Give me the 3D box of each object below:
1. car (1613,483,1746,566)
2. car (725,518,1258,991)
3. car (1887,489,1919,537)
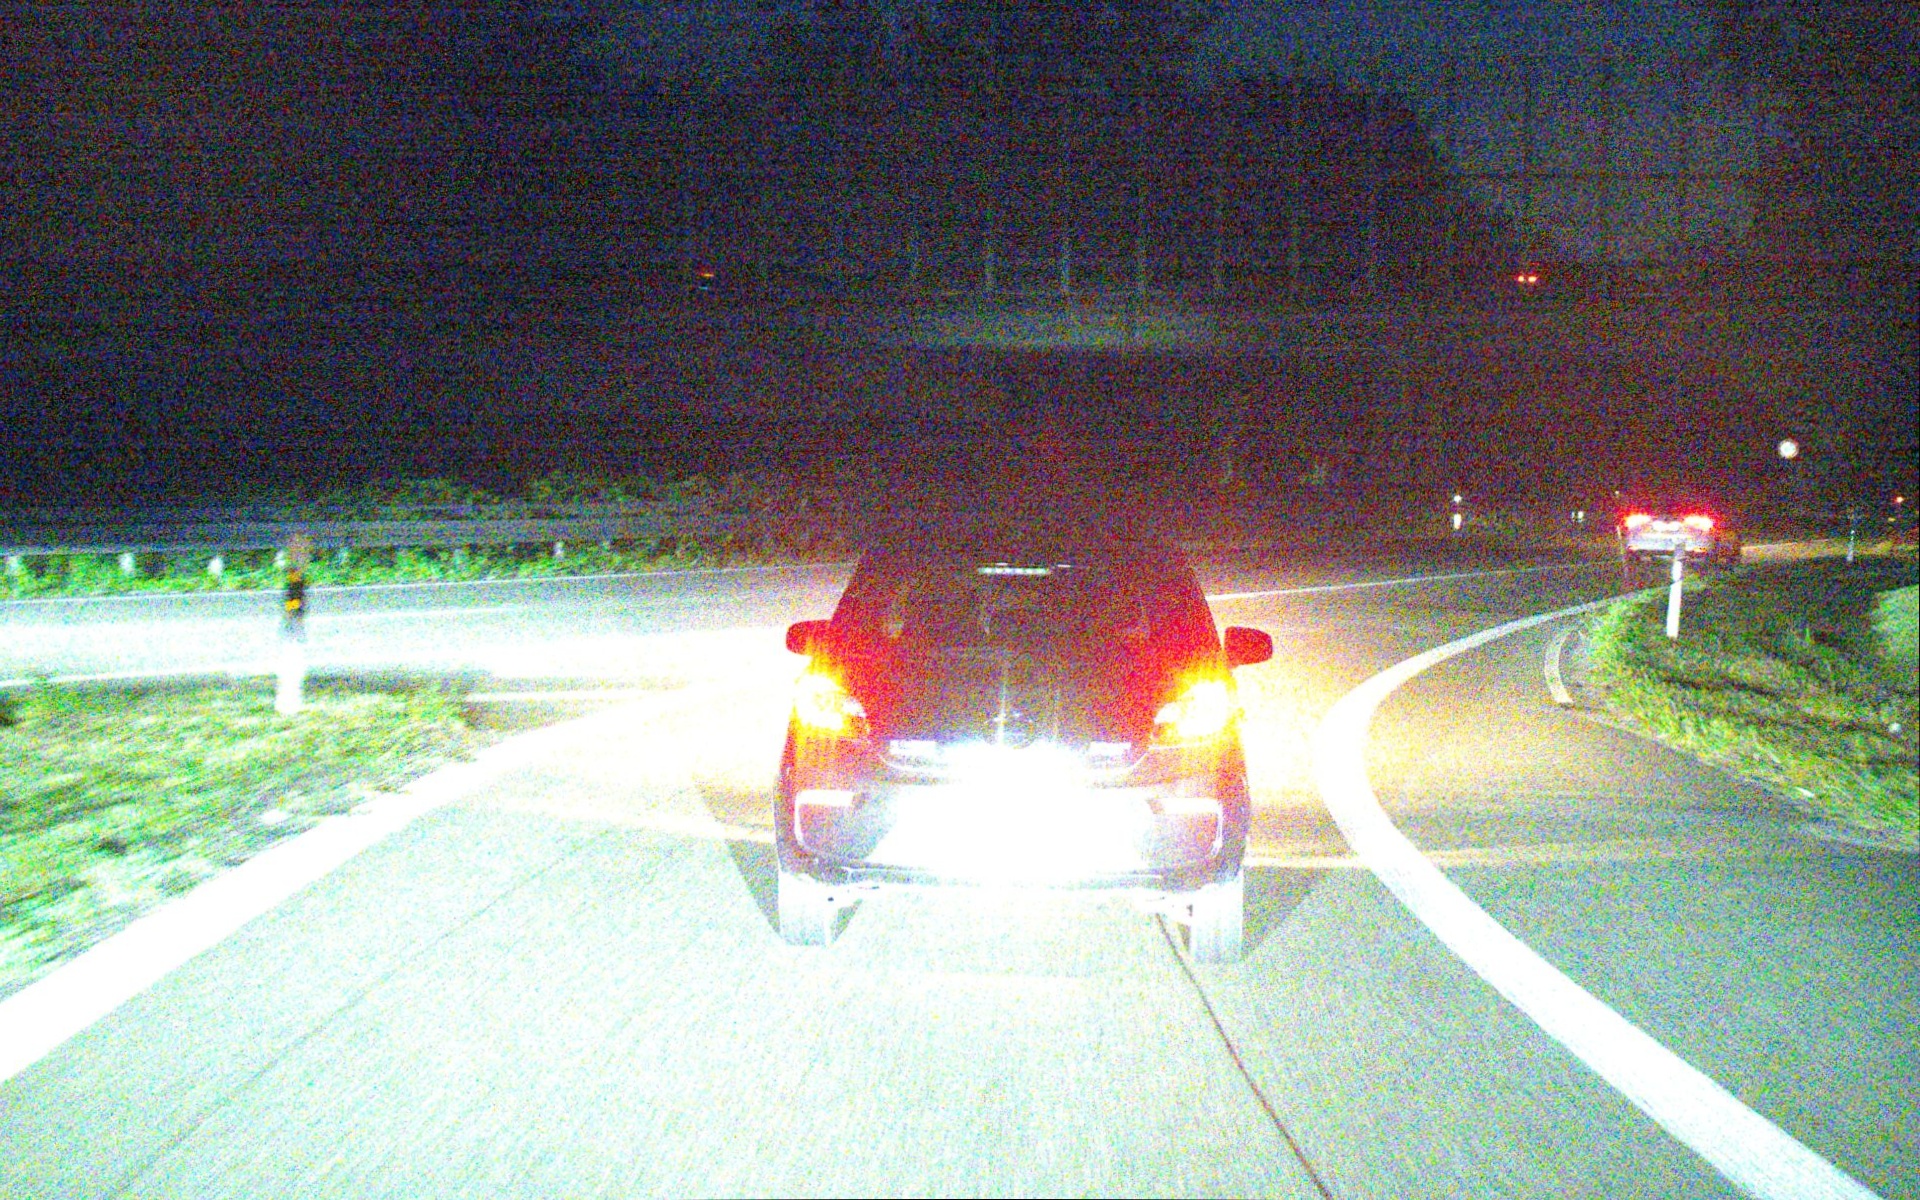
[{"bbox_3d":[14.419,-1.488,68.714,1.953,1.533,4.237,-2,0,20],"label":"car"},{"bbox_3d":[0.159,0.454,13.188,1.691,1.472,4.000,2,2,2],"label":"car"},{"bbox_3d":[34.005,-3.090,121.780,1.735,1.612,3.794,3,3,22],"label":"car"}]
